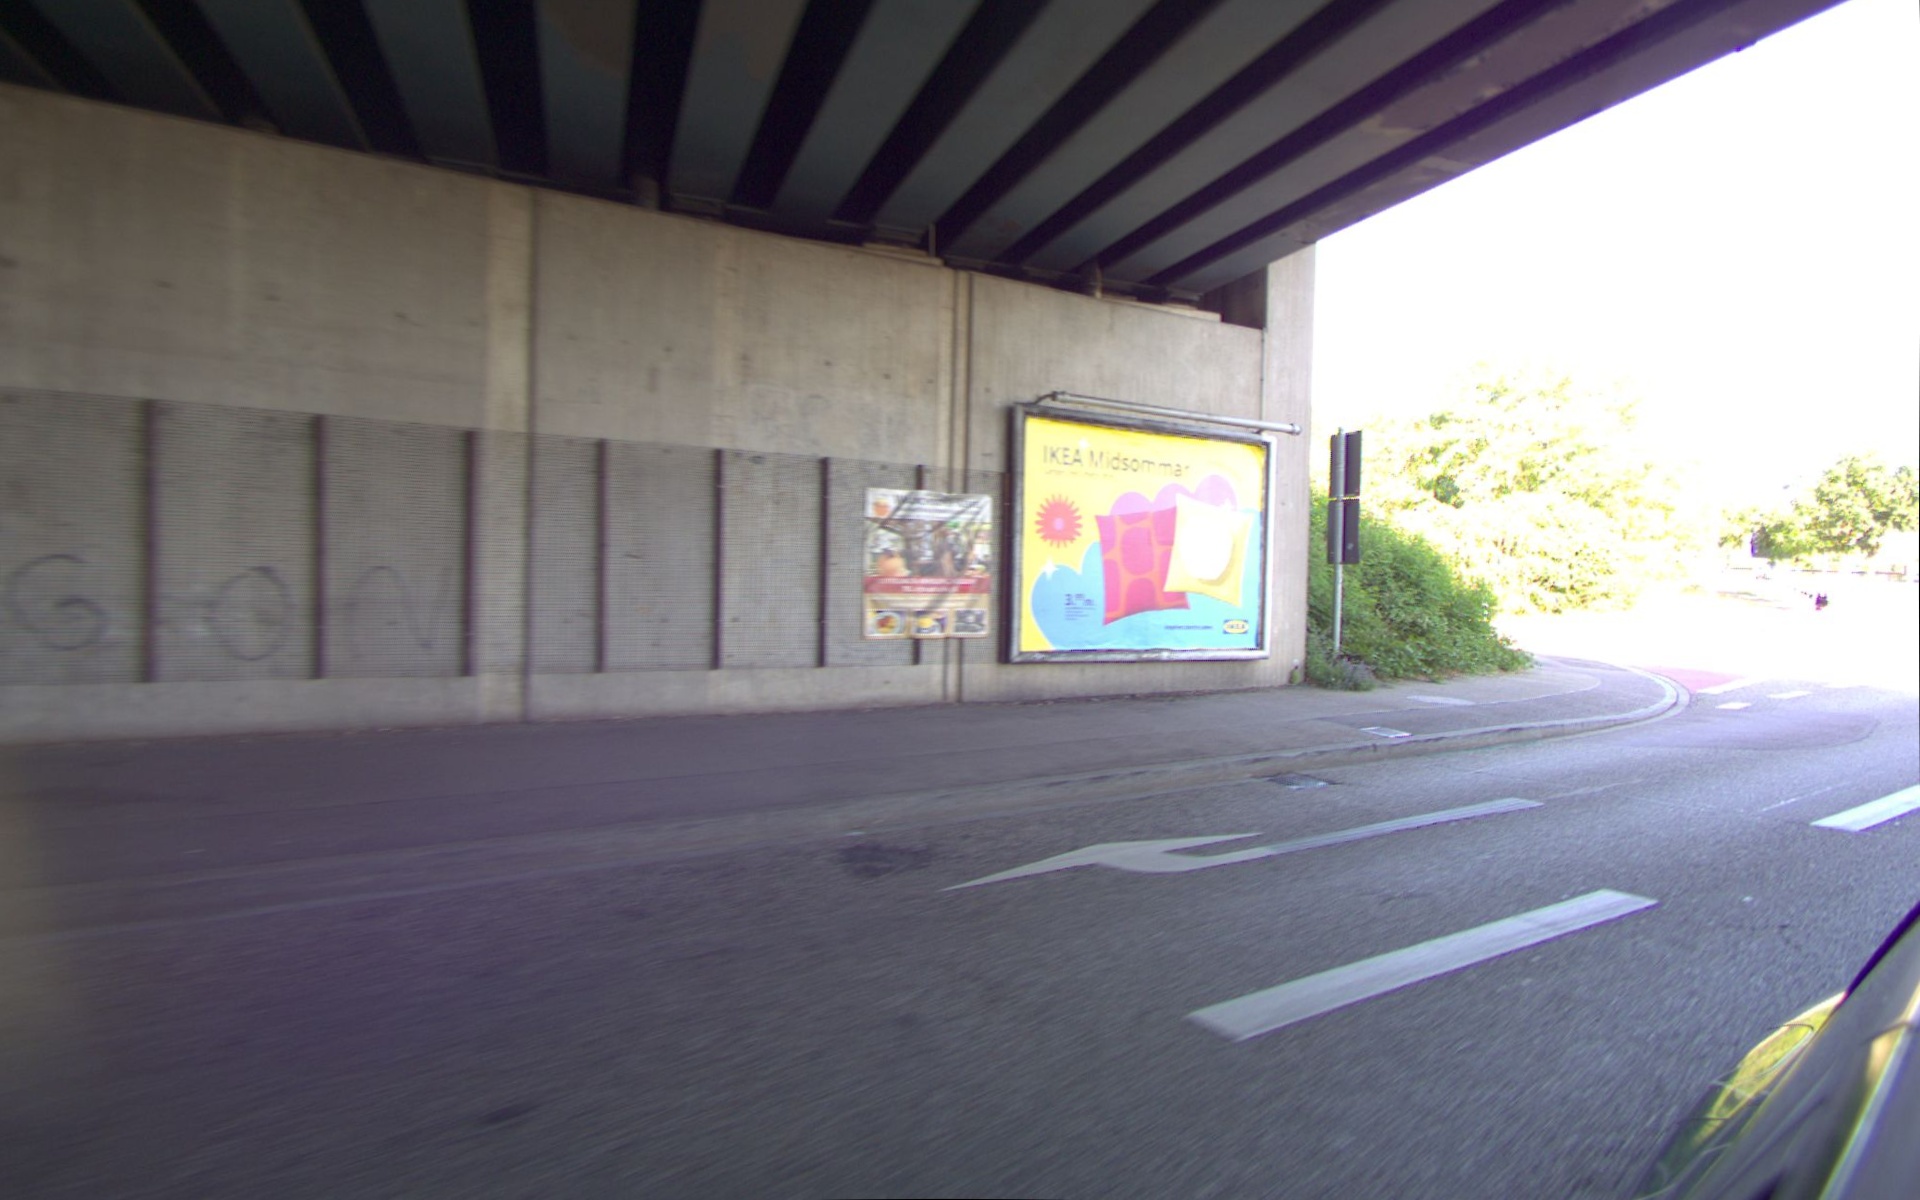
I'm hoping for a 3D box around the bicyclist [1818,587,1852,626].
[{"bbox_3d":[32.495,0.238,37.598,0.838,1.439,1.100,0,0,35],"label":"bicyclist"}]

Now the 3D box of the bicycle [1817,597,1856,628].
[{"bbox_3d":[32.458,0.448,37.494,0.777,1.070,2.466,0,0,34],"label":"bicycle"}]
